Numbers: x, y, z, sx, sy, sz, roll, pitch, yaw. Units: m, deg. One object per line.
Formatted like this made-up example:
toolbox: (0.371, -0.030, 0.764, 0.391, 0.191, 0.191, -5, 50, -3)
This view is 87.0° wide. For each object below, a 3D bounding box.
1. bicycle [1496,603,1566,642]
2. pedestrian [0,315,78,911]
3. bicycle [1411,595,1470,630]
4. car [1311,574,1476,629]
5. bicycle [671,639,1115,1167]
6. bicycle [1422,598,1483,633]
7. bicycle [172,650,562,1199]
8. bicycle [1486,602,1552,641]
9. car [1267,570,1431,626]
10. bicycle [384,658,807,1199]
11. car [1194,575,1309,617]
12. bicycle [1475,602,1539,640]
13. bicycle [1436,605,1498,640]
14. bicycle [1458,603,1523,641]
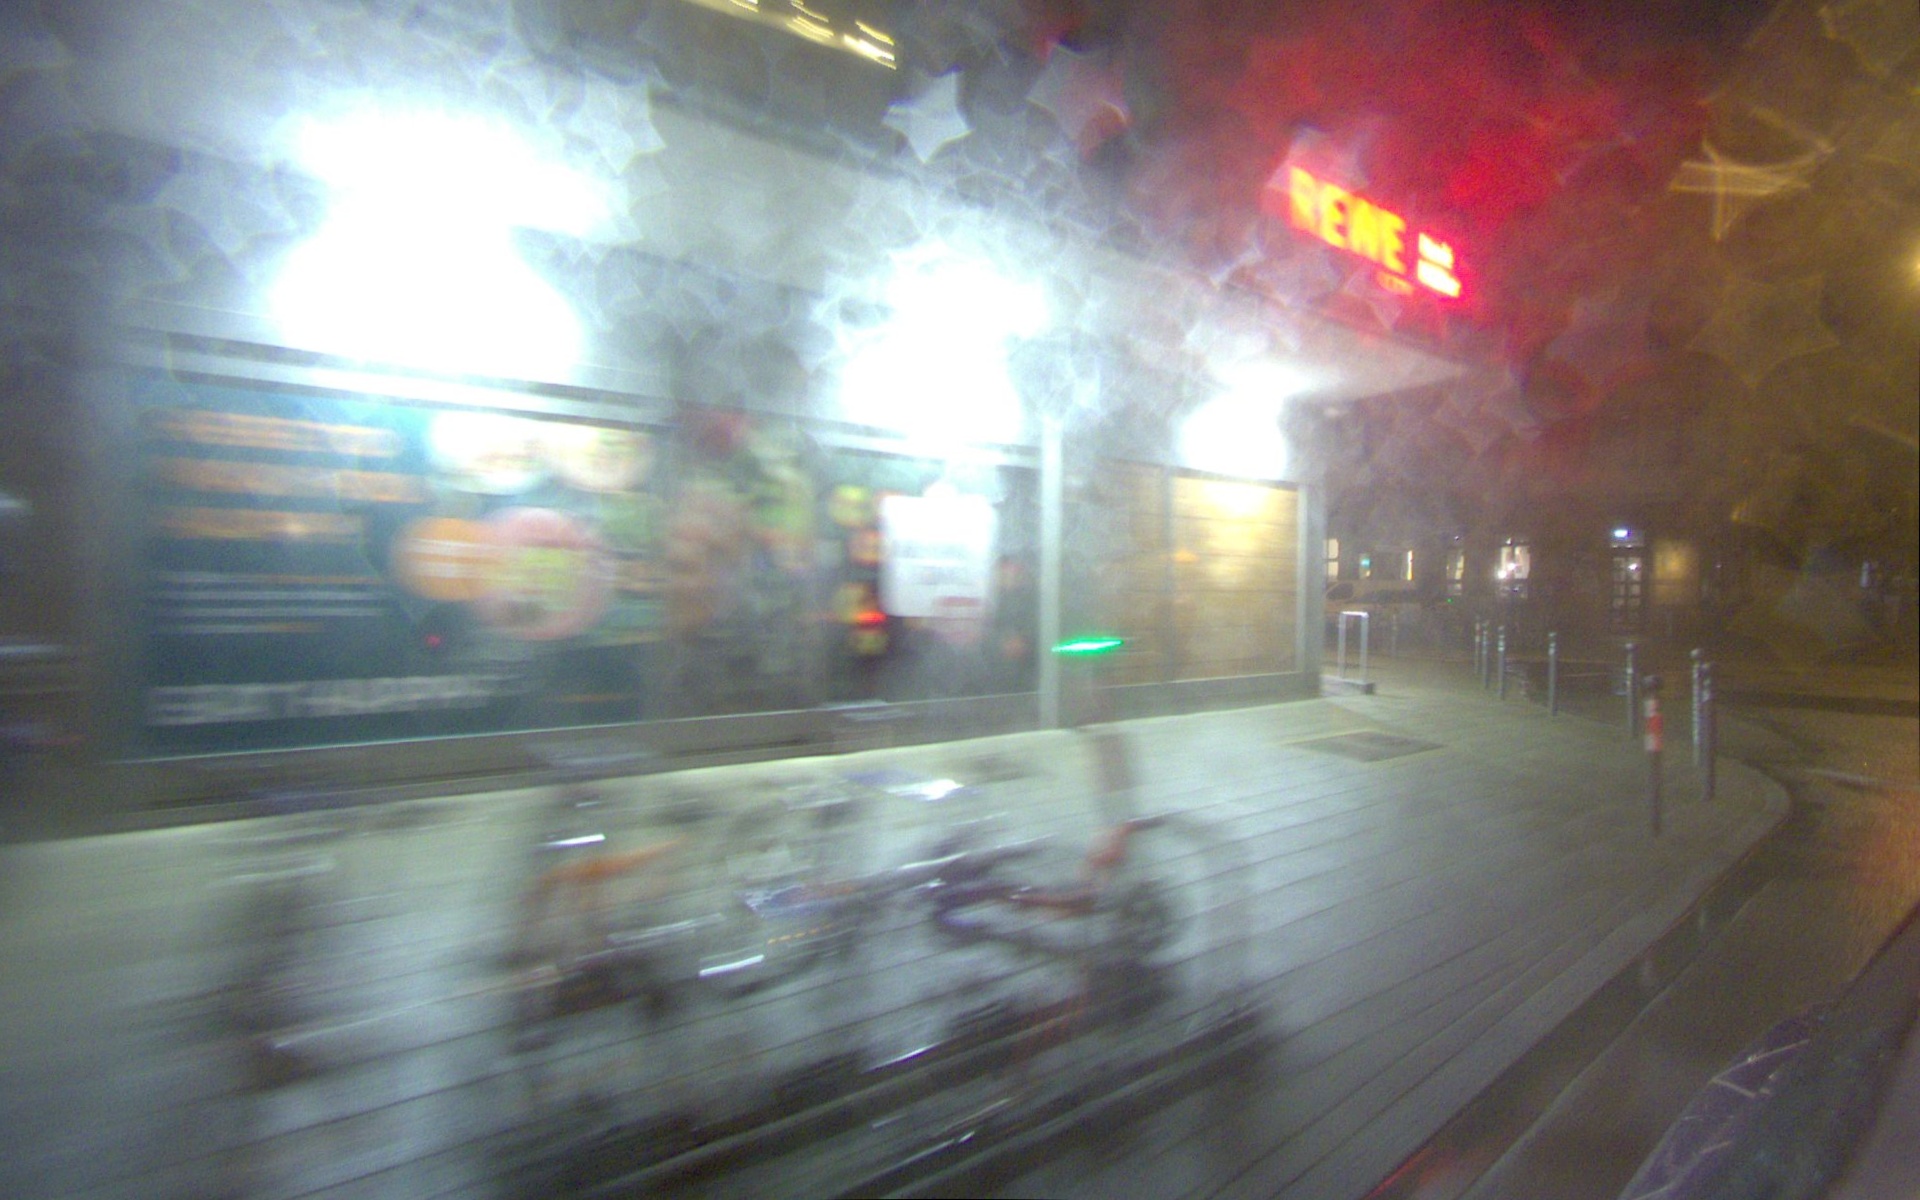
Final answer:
bicycle: (15.221, 0.603, 26.978, 1.772, 1.021, 0.456, 1, 0, -13)
pedestrian: (-4.180, 0.040, 4.014, 0.952, 2.235, 1.057, -1, 2, -38)
bicycle: (14.820, 0.381, 31.194, 1.740, 1.021, 0.404, 1, 1, -13)
car: (14.733, 0.050, 34.472, 4.989, 1.785, 2.004, 0, 0, -15)
bicycle: (-0.332, 0.745, 3.205, 0.428, 1.139, 1.787, 1, 1, -40)
bicycle: (14.931, 0.463, 30.669, 1.772, 1.021, 0.404, -1, -1, -13)
bicycle: (-1.385, 0.783, 2.179, 0.428, 1.138, 1.767, 1, 4, -40)
bicycle: (15.273, 0.583, 27.646, 1.772, 1.021, 0.404, 1, 0, -13)
car: (14.118, -0.071, 36.781, 5.431, 1.914, 2.004, 0, 0, -15)
bicycle: (-1.037, 0.754, 2.564, 0.428, 1.093, 1.765, 1, 0, -40)
car: (12.578, -0.170, 43.788, 4.369, 1.785, 2.004, 0, 0, -15)
bicycle: (15.209, 0.588, 28.140, 1.772, 1.021, 0.380, 1, 0, -13)
bicycle: (15.050, 0.667, 30.049, 1.772, 1.021, 0.404, 1, 0, -13)
bicycle: (15.073, 0.610, 28.739, 1.772, 1.021, 0.404, -1, -1, -13)
